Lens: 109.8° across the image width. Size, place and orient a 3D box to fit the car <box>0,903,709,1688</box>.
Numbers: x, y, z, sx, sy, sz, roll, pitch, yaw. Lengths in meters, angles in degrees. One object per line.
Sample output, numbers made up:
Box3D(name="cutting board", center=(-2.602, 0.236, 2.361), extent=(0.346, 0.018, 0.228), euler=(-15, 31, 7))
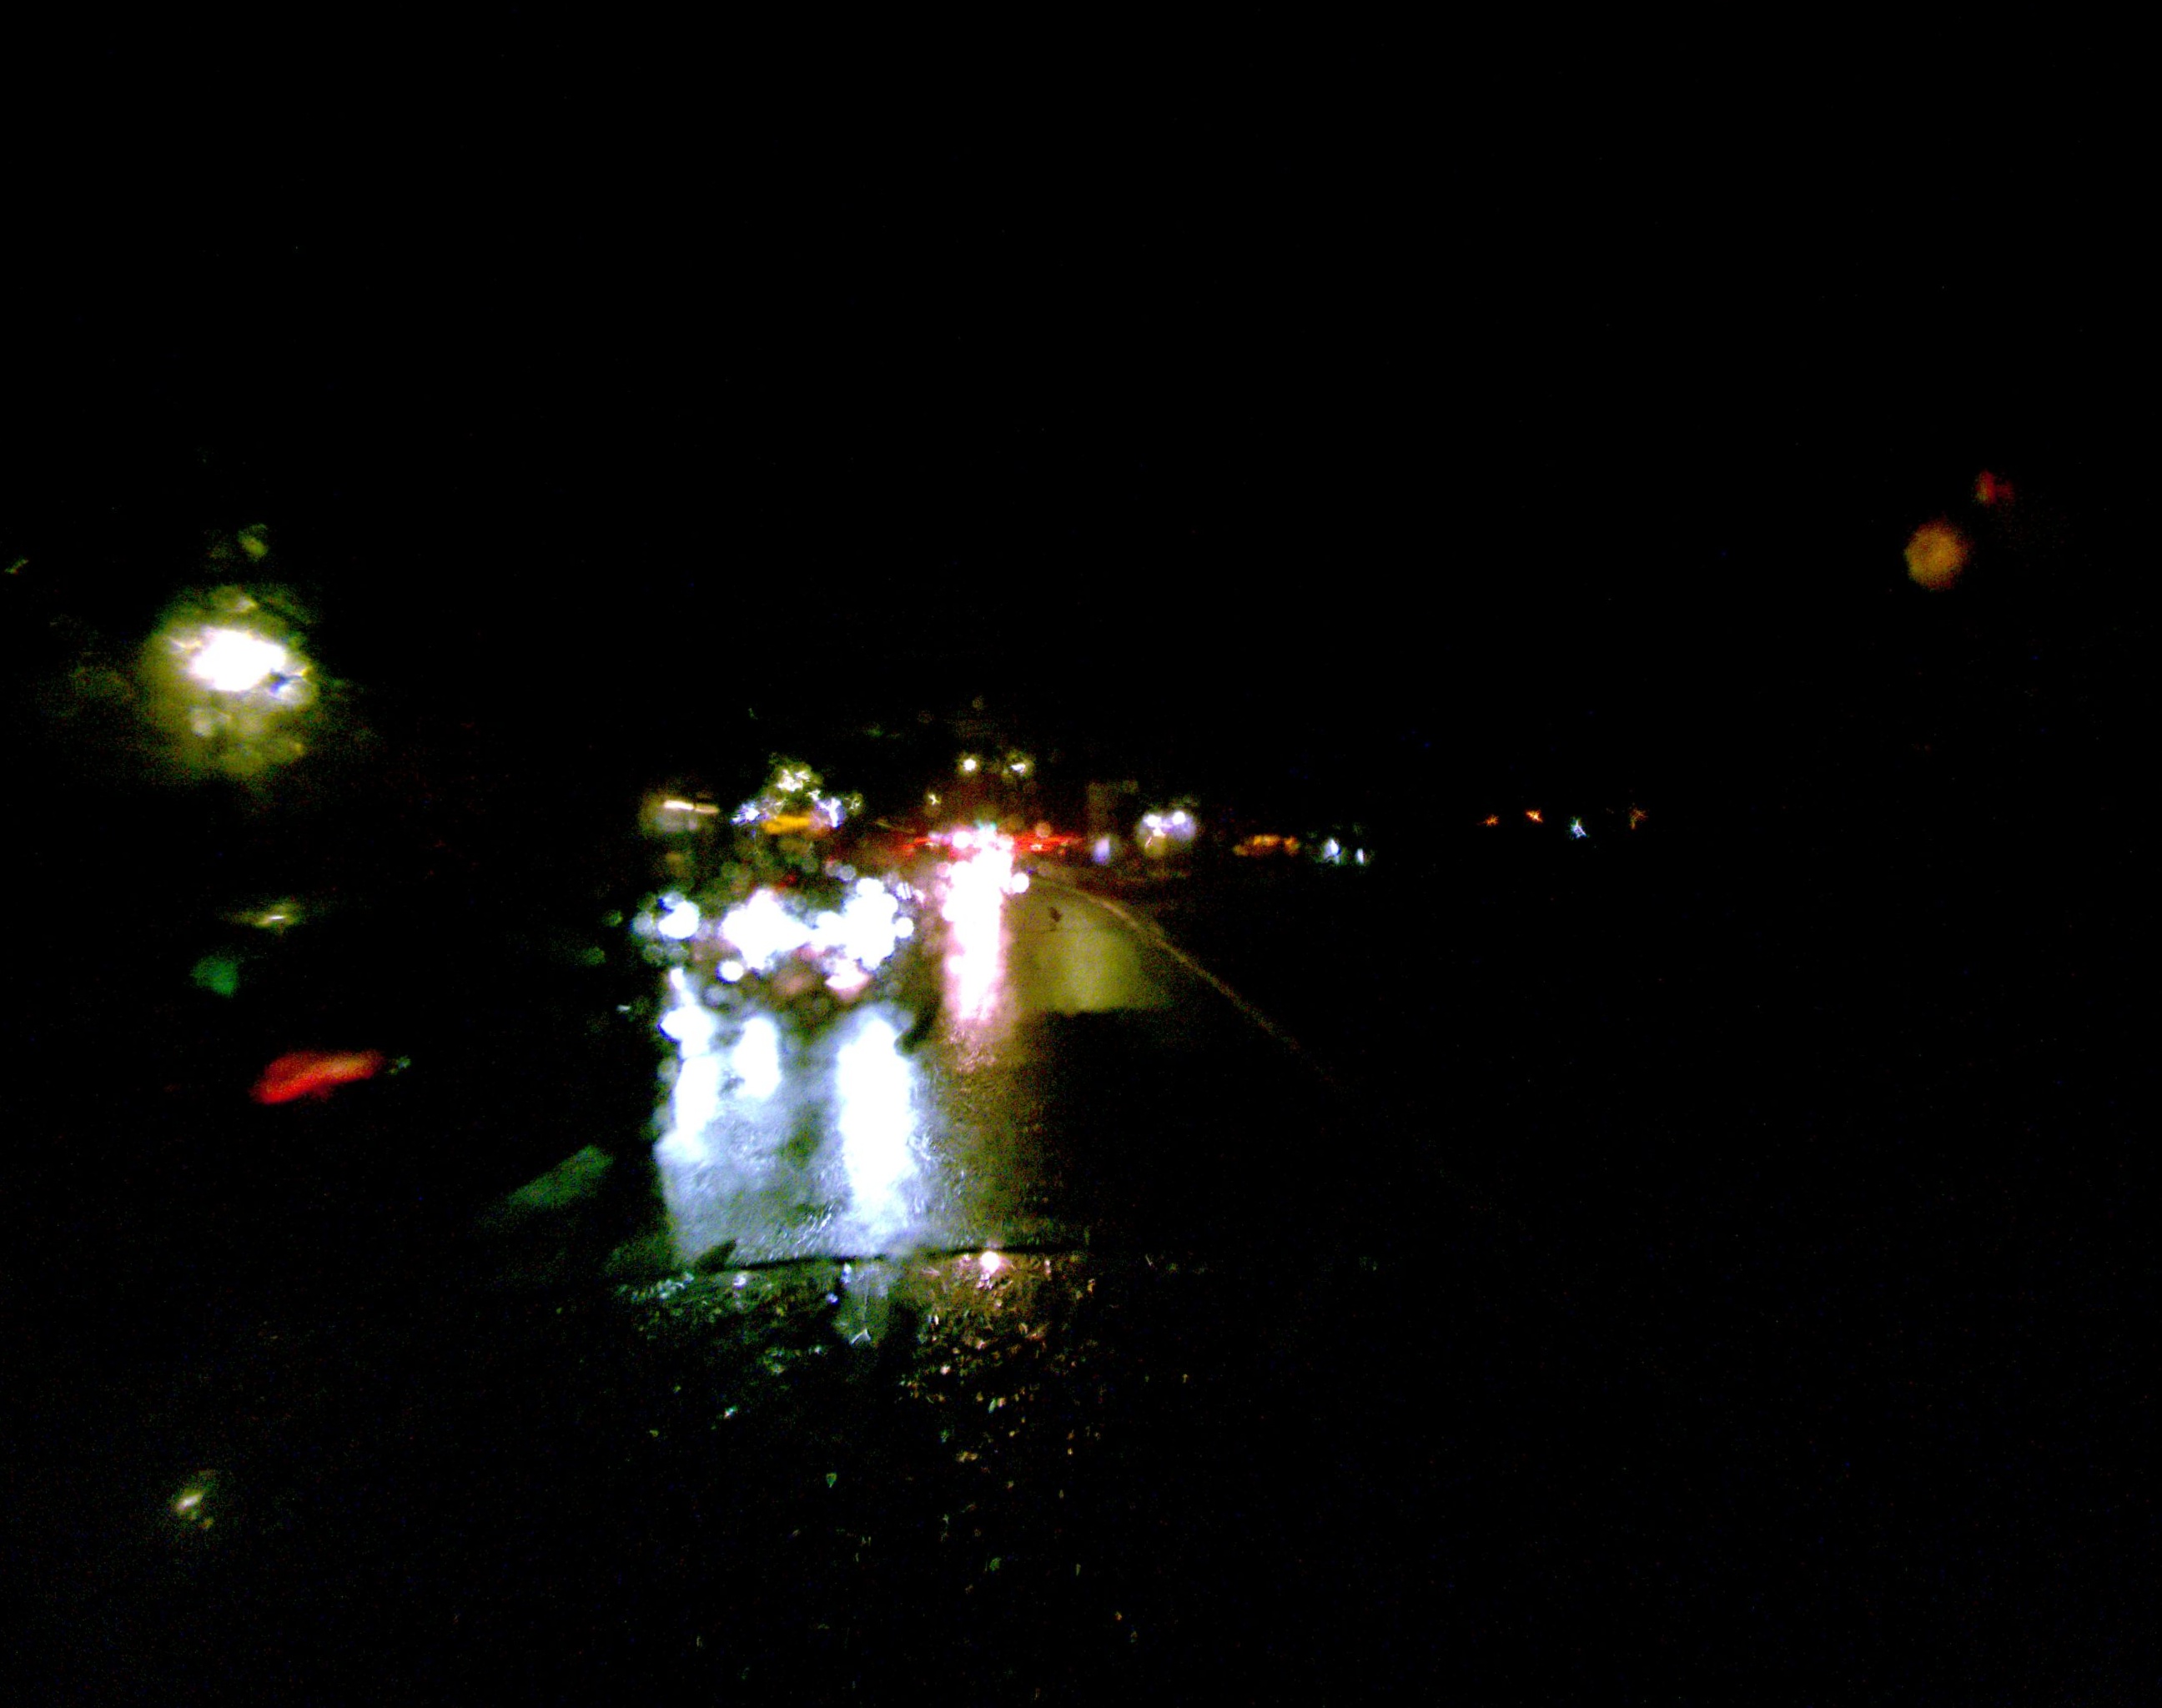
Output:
Box3D(name="car", center=(-3.163, 1.049, 2.604), extent=(1.724, 1.438, 4.161), euler=(-1, 0, 0))

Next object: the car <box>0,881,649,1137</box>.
Box3D(name="car", center=(-6.444, 1.116, 7.432), extent=(1.724, 1.478, 4.786), euler=(0, 0, 0))

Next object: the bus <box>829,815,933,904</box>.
Box3D(name="bus", center=(-8.288, 0.153, 32.808), extent=(2.742, 3.219, 9.694), euler=(-1, 1, -6))

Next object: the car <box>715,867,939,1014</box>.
Box3D(name="car", center=(-3.331, 1.035, 10.877), extent=(1.724, 1.478, 4.161), euler=(-4, 1, 0))

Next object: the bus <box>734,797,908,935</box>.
Box3D(name="bus", center=(-7.351, 0.236, 23.167), extent=(2.742, 3.258, 9.694), euler=(-1, 1, -5))

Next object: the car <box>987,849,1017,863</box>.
Box3D(name="car", center=(-9.054, 0.196, 86.806), extent=(1.604, 1.528, 4.301), euler=(-2, 1, -31))

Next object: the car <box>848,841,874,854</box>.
Box3D(name="car", center=(-23.711, -0.671, 81.798), extent=(1.712, 1.382, 3.990), euler=(-2, 1, -32))

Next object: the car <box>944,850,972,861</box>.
Box3D(name="car", center=(-16.826, 0.192, 103.748), extent=(1.904, 1.381, 4.600), euler=(-2, 1, -37))

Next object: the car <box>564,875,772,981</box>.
Box3D(name="car", center=(-7.144, 1.185, 13.680), extent=(1.725, 1.478, 4.160), euler=(0, 0, -4))

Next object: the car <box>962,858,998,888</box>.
Box3D(name="car", center=(-5.263, 0.967, 39.628), extent=(1.756, 1.438, 3.970), euler=(0, 0, -8))
